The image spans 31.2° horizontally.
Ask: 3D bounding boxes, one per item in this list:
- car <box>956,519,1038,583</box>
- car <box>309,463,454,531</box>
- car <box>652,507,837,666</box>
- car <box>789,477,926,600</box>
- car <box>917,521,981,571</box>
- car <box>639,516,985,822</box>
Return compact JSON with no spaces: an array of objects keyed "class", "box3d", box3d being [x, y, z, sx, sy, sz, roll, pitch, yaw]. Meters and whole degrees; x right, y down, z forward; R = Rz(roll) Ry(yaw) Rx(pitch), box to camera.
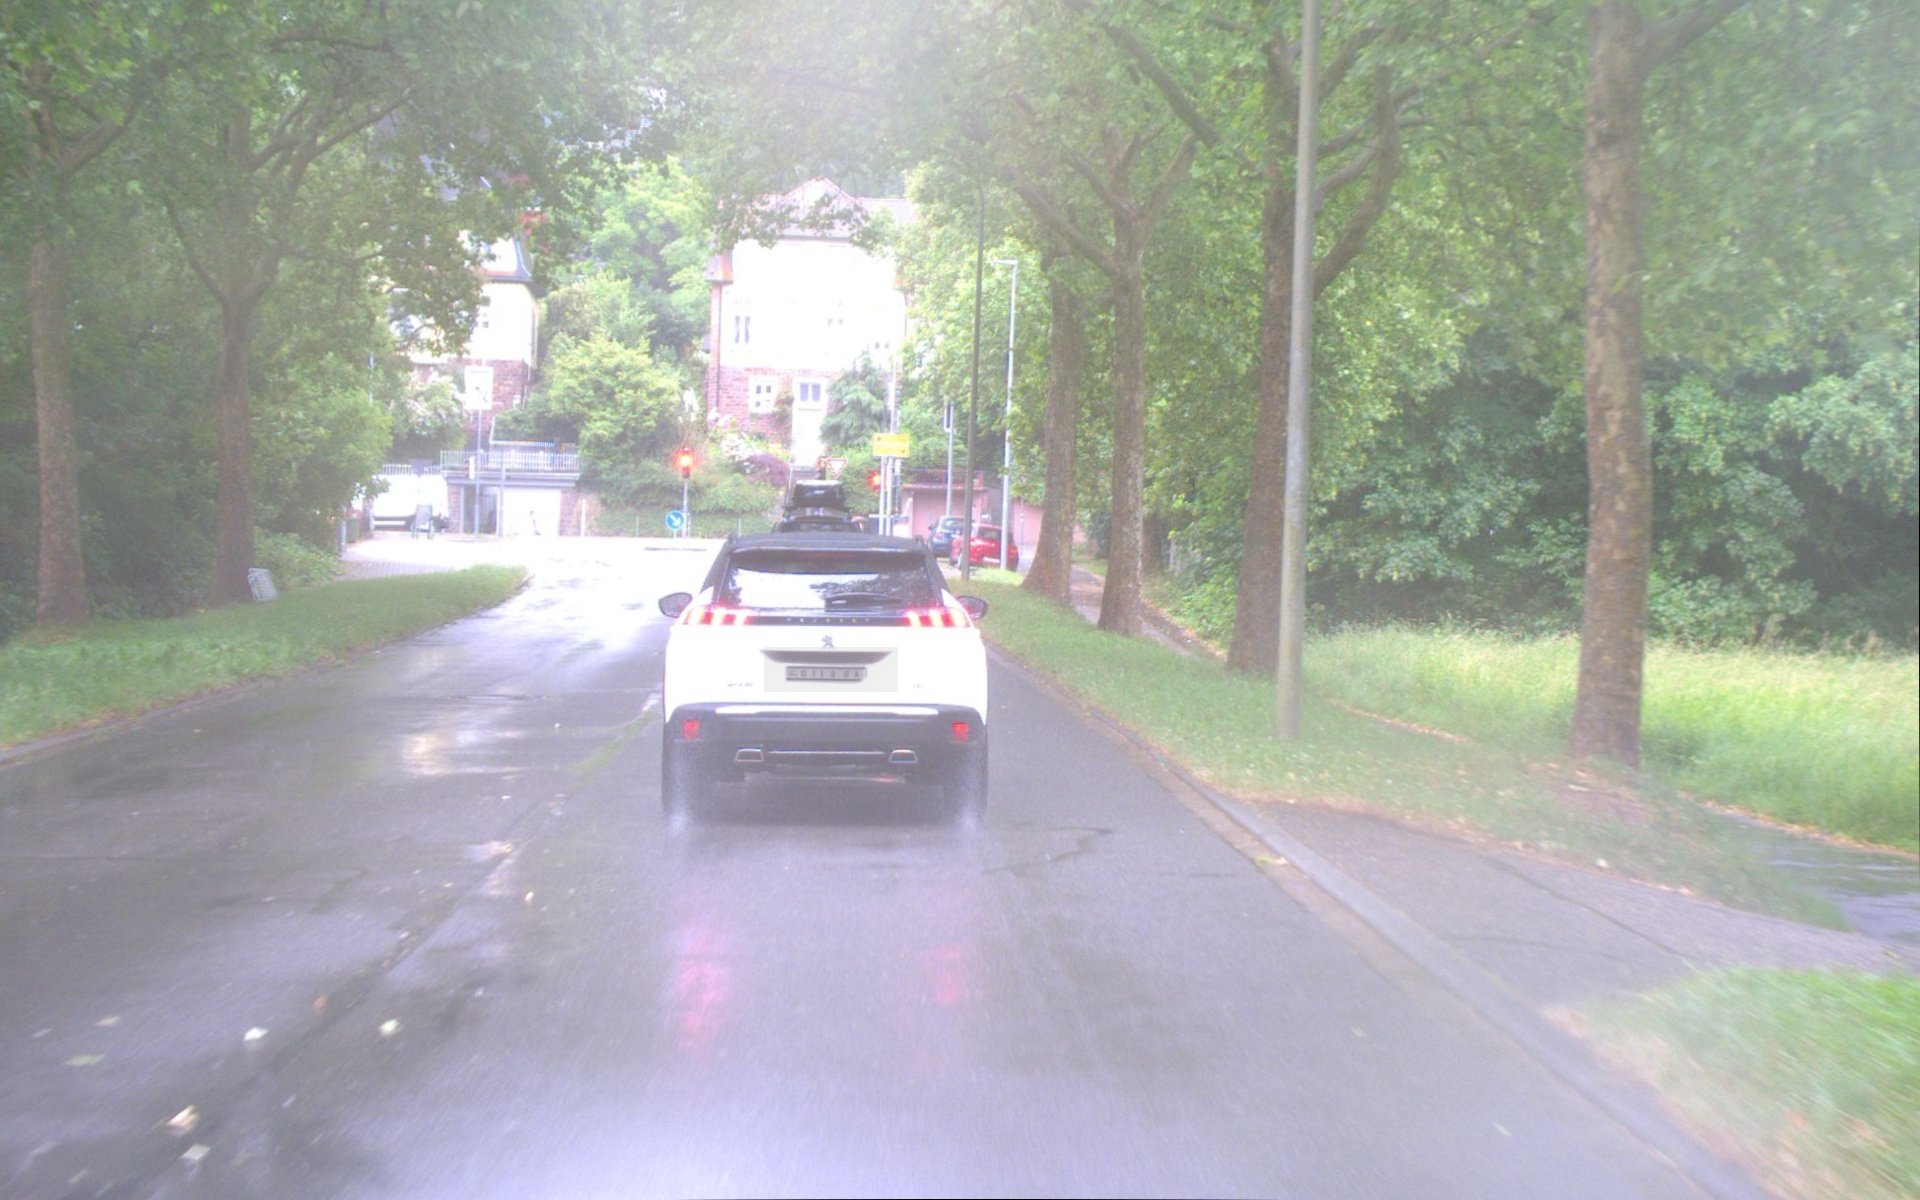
[{"class":"car","box3d":[1.091,-1.490,103.227,1.819,1.512,3.744,9,2,-7]},{"class":"car","box3d":[-24.189,-4.301,143.919,5.660,2.485,2.316,3,0,-2]},{"class":"car","box3d":[-2.378,-0.201,38.482,1.831,1.451,4.659,5,2,-3]},{"class":"car","box3d":[-1.645,-0.995,53.644,1.760,1.705,4.602,3,2,-5]},{"class":"car","box3d":[-0.370,-1.788,112.568,1.749,1.486,3.600,5,1,-4]},{"class":"car","box3d":[-0.907,0.306,19.868,1.752,1.530,4.368,1,1,-4]}]
